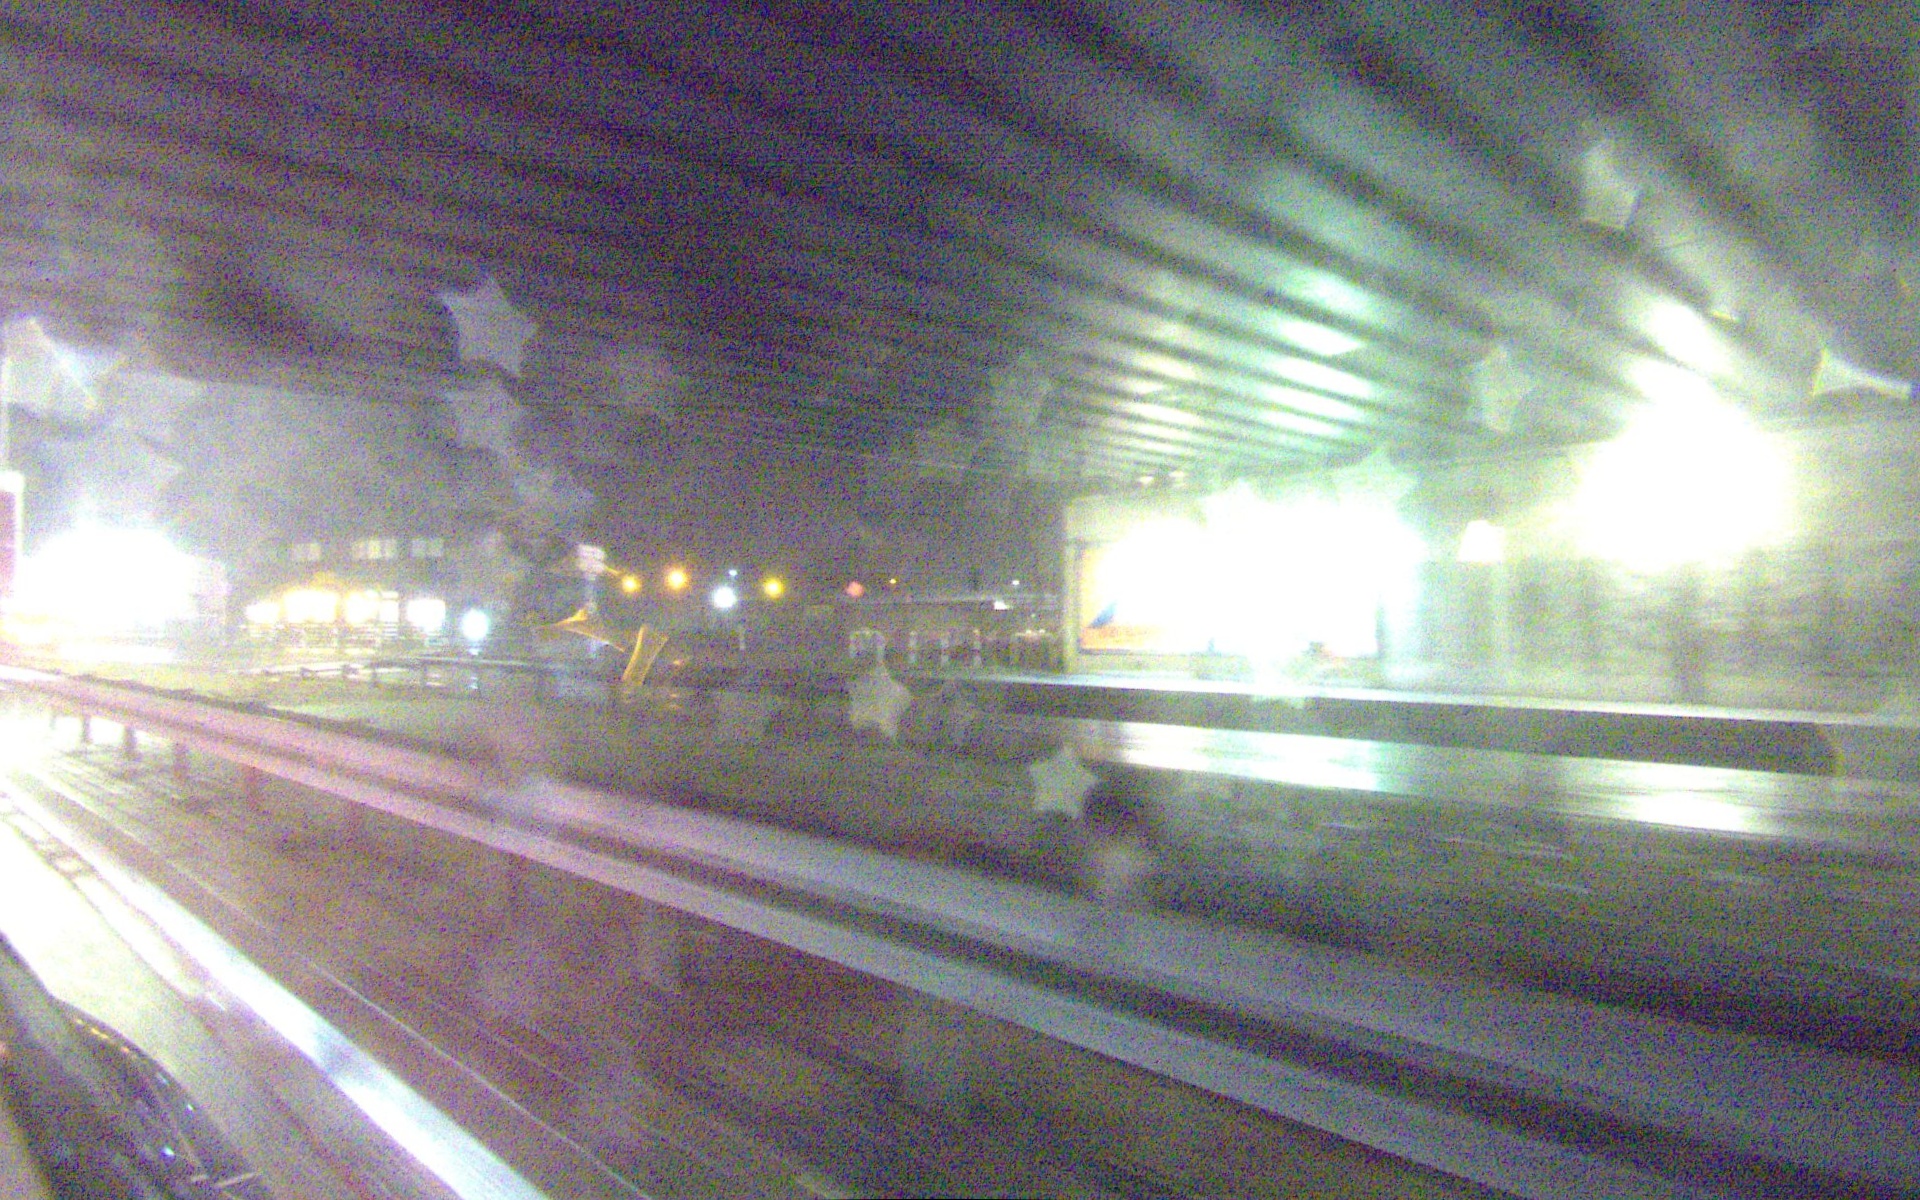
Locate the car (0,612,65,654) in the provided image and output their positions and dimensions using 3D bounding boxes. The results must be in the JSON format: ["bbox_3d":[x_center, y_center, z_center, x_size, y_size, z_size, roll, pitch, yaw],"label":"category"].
[{"bbox_3d":[-36.614,1.254,39.080,4.289,1.548,1.587,-1,-1,27],"label":"car"}]
